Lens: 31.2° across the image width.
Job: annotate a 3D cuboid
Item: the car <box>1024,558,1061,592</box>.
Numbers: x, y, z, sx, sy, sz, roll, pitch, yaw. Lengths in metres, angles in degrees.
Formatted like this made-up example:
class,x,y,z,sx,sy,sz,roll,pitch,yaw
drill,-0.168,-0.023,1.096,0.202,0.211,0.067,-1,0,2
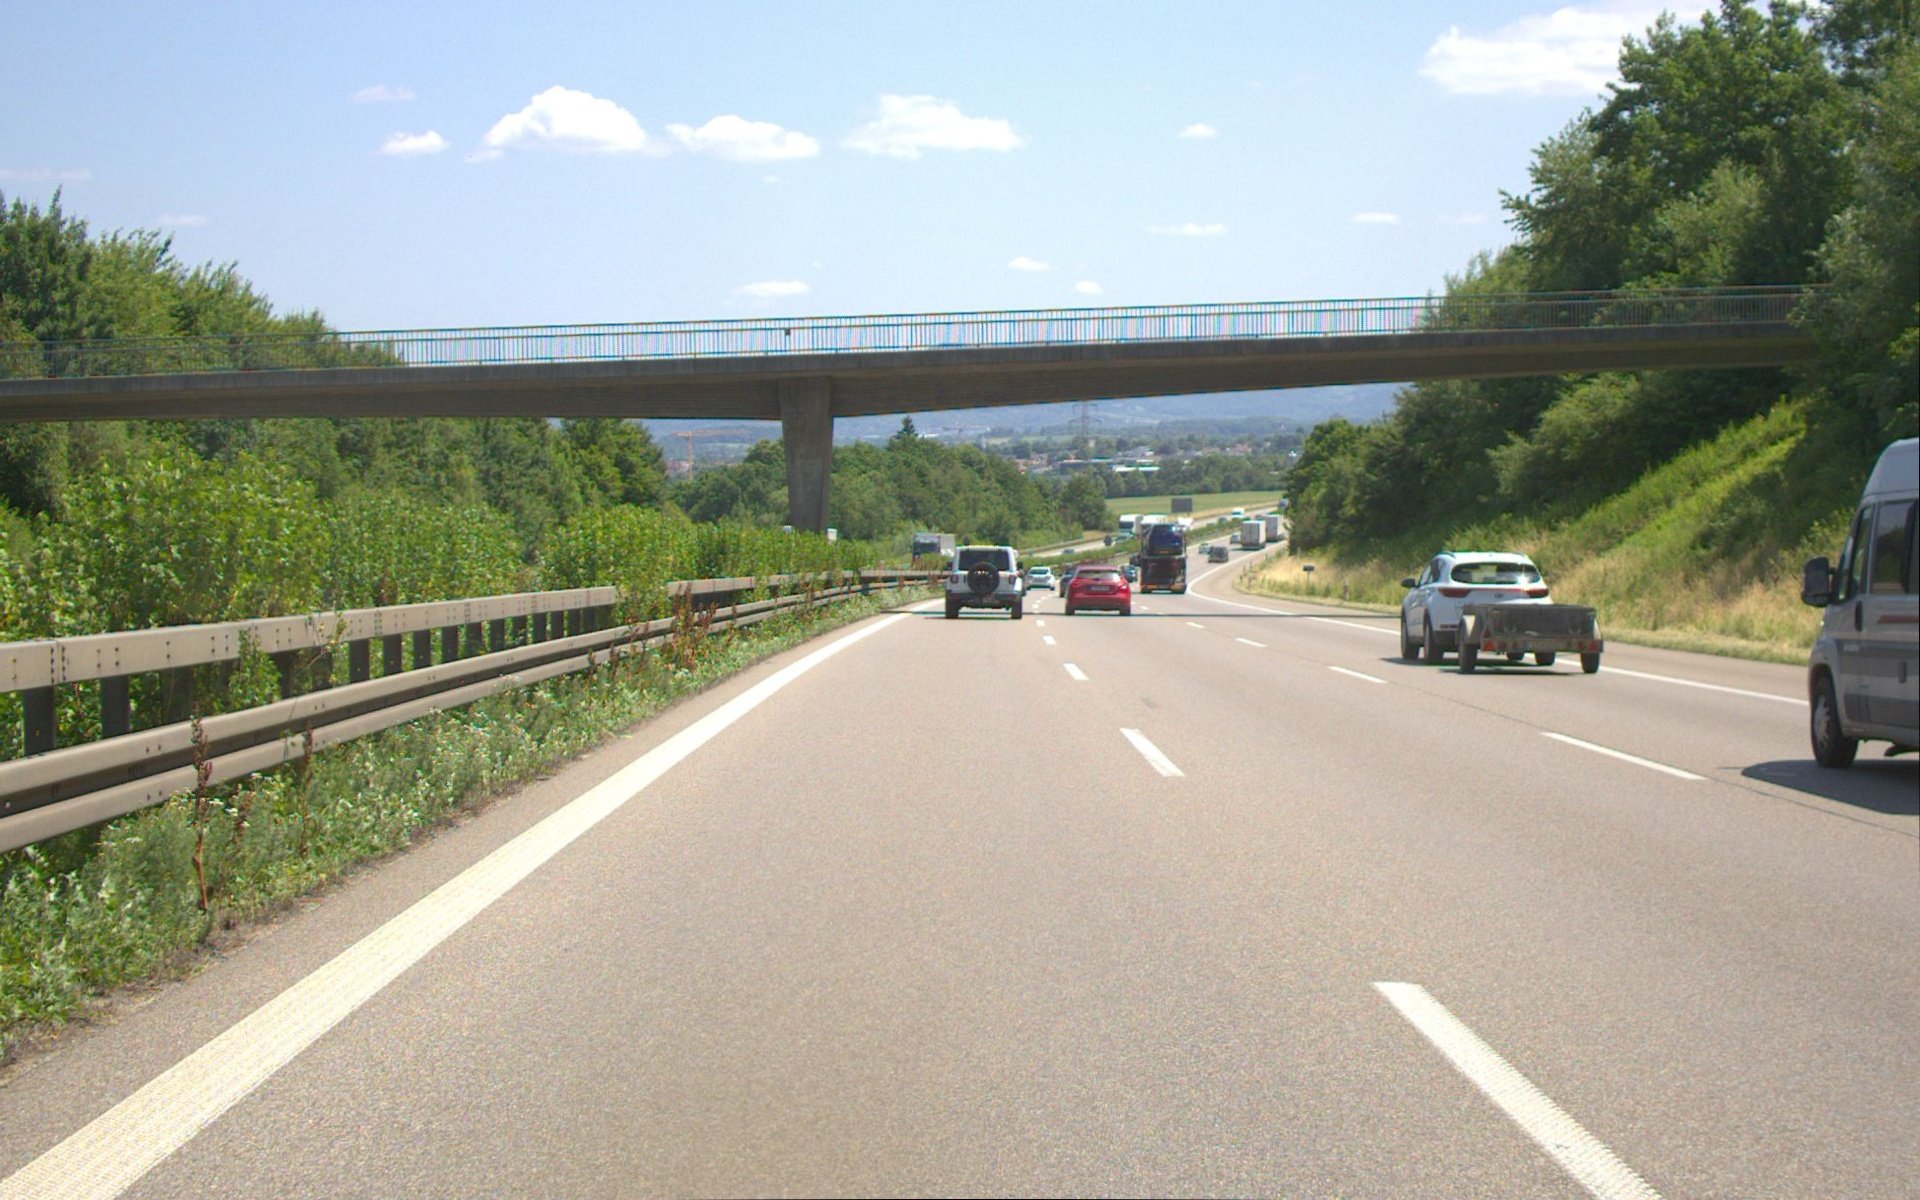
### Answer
class,x,y,z,sx,sy,sz,roll,pitch,yaw
car,5.142,-1.550,214.577,1.699,2.006,3.821,1,2,11

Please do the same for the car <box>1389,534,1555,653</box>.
class,x,y,z,sx,sy,sz,roll,pitch,yaw
car,7.633,-0.135,51.621,1.781,1.645,4.403,1,2,0

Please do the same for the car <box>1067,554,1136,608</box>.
class,x,y,z,sx,sy,sz,roll,pitch,yaw
car,3.942,-0.551,96.431,1.686,1.374,3.949,1,2,-1

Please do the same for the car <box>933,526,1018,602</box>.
class,x,y,z,sx,sy,sz,roll,pitch,yaw
car,0.411,-0.941,87.411,2.083,1.823,4.754,1,2,1

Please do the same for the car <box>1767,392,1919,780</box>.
class,x,y,z,sx,sy,sz,roll,pitch,yaw
car,7.407,-0.113,23.643,2.089,2.567,6.622,1,2,0

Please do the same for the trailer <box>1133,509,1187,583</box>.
class,x,y,z,sx,sy,sz,roll,pitch,yaw
trailer,11.669,-3.210,199.478,2.855,3.979,15.395,1,2,4

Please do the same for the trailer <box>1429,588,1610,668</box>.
class,x,y,z,sx,sy,sz,roll,pitch,yaw
trailer,7.638,0.354,47.260,1.754,0.905,4.320,1,2,0

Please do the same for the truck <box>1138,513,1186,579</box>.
class,x,y,z,sx,sy,sz,roll,pitch,yaw
truck,12.199,-3.316,207.273,2.754,3.839,6.644,1,2,4
